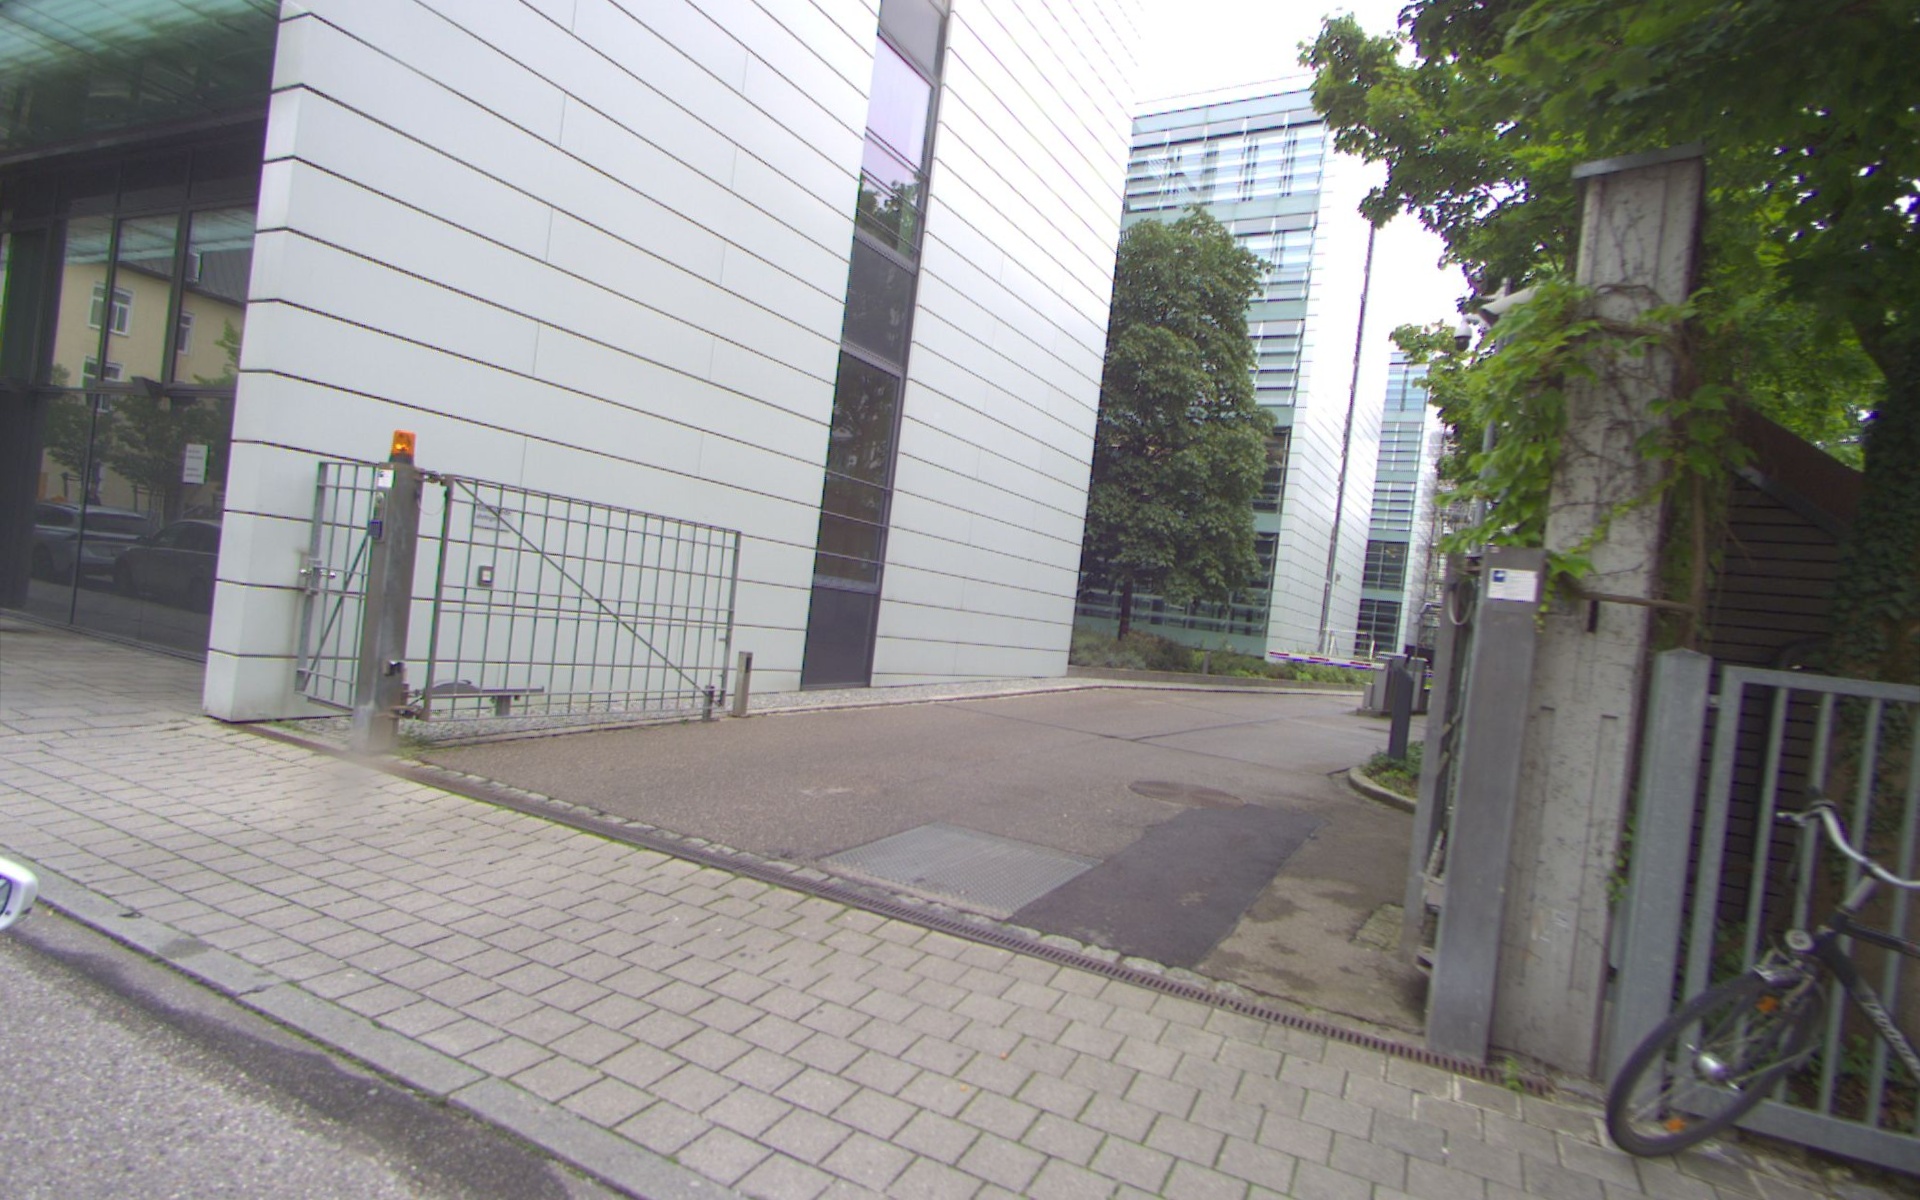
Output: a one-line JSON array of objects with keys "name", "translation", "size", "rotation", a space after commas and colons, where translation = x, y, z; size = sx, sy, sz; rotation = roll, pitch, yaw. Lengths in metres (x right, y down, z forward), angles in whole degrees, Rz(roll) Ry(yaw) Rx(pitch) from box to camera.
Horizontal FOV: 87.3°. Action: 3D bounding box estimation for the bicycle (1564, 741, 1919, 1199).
[{"name": "bicycle", "translation": [2.755, 1.182, 2.625], "size": [1.801, 1.213, 0.709], "rotation": [10, 2, 27]}]
